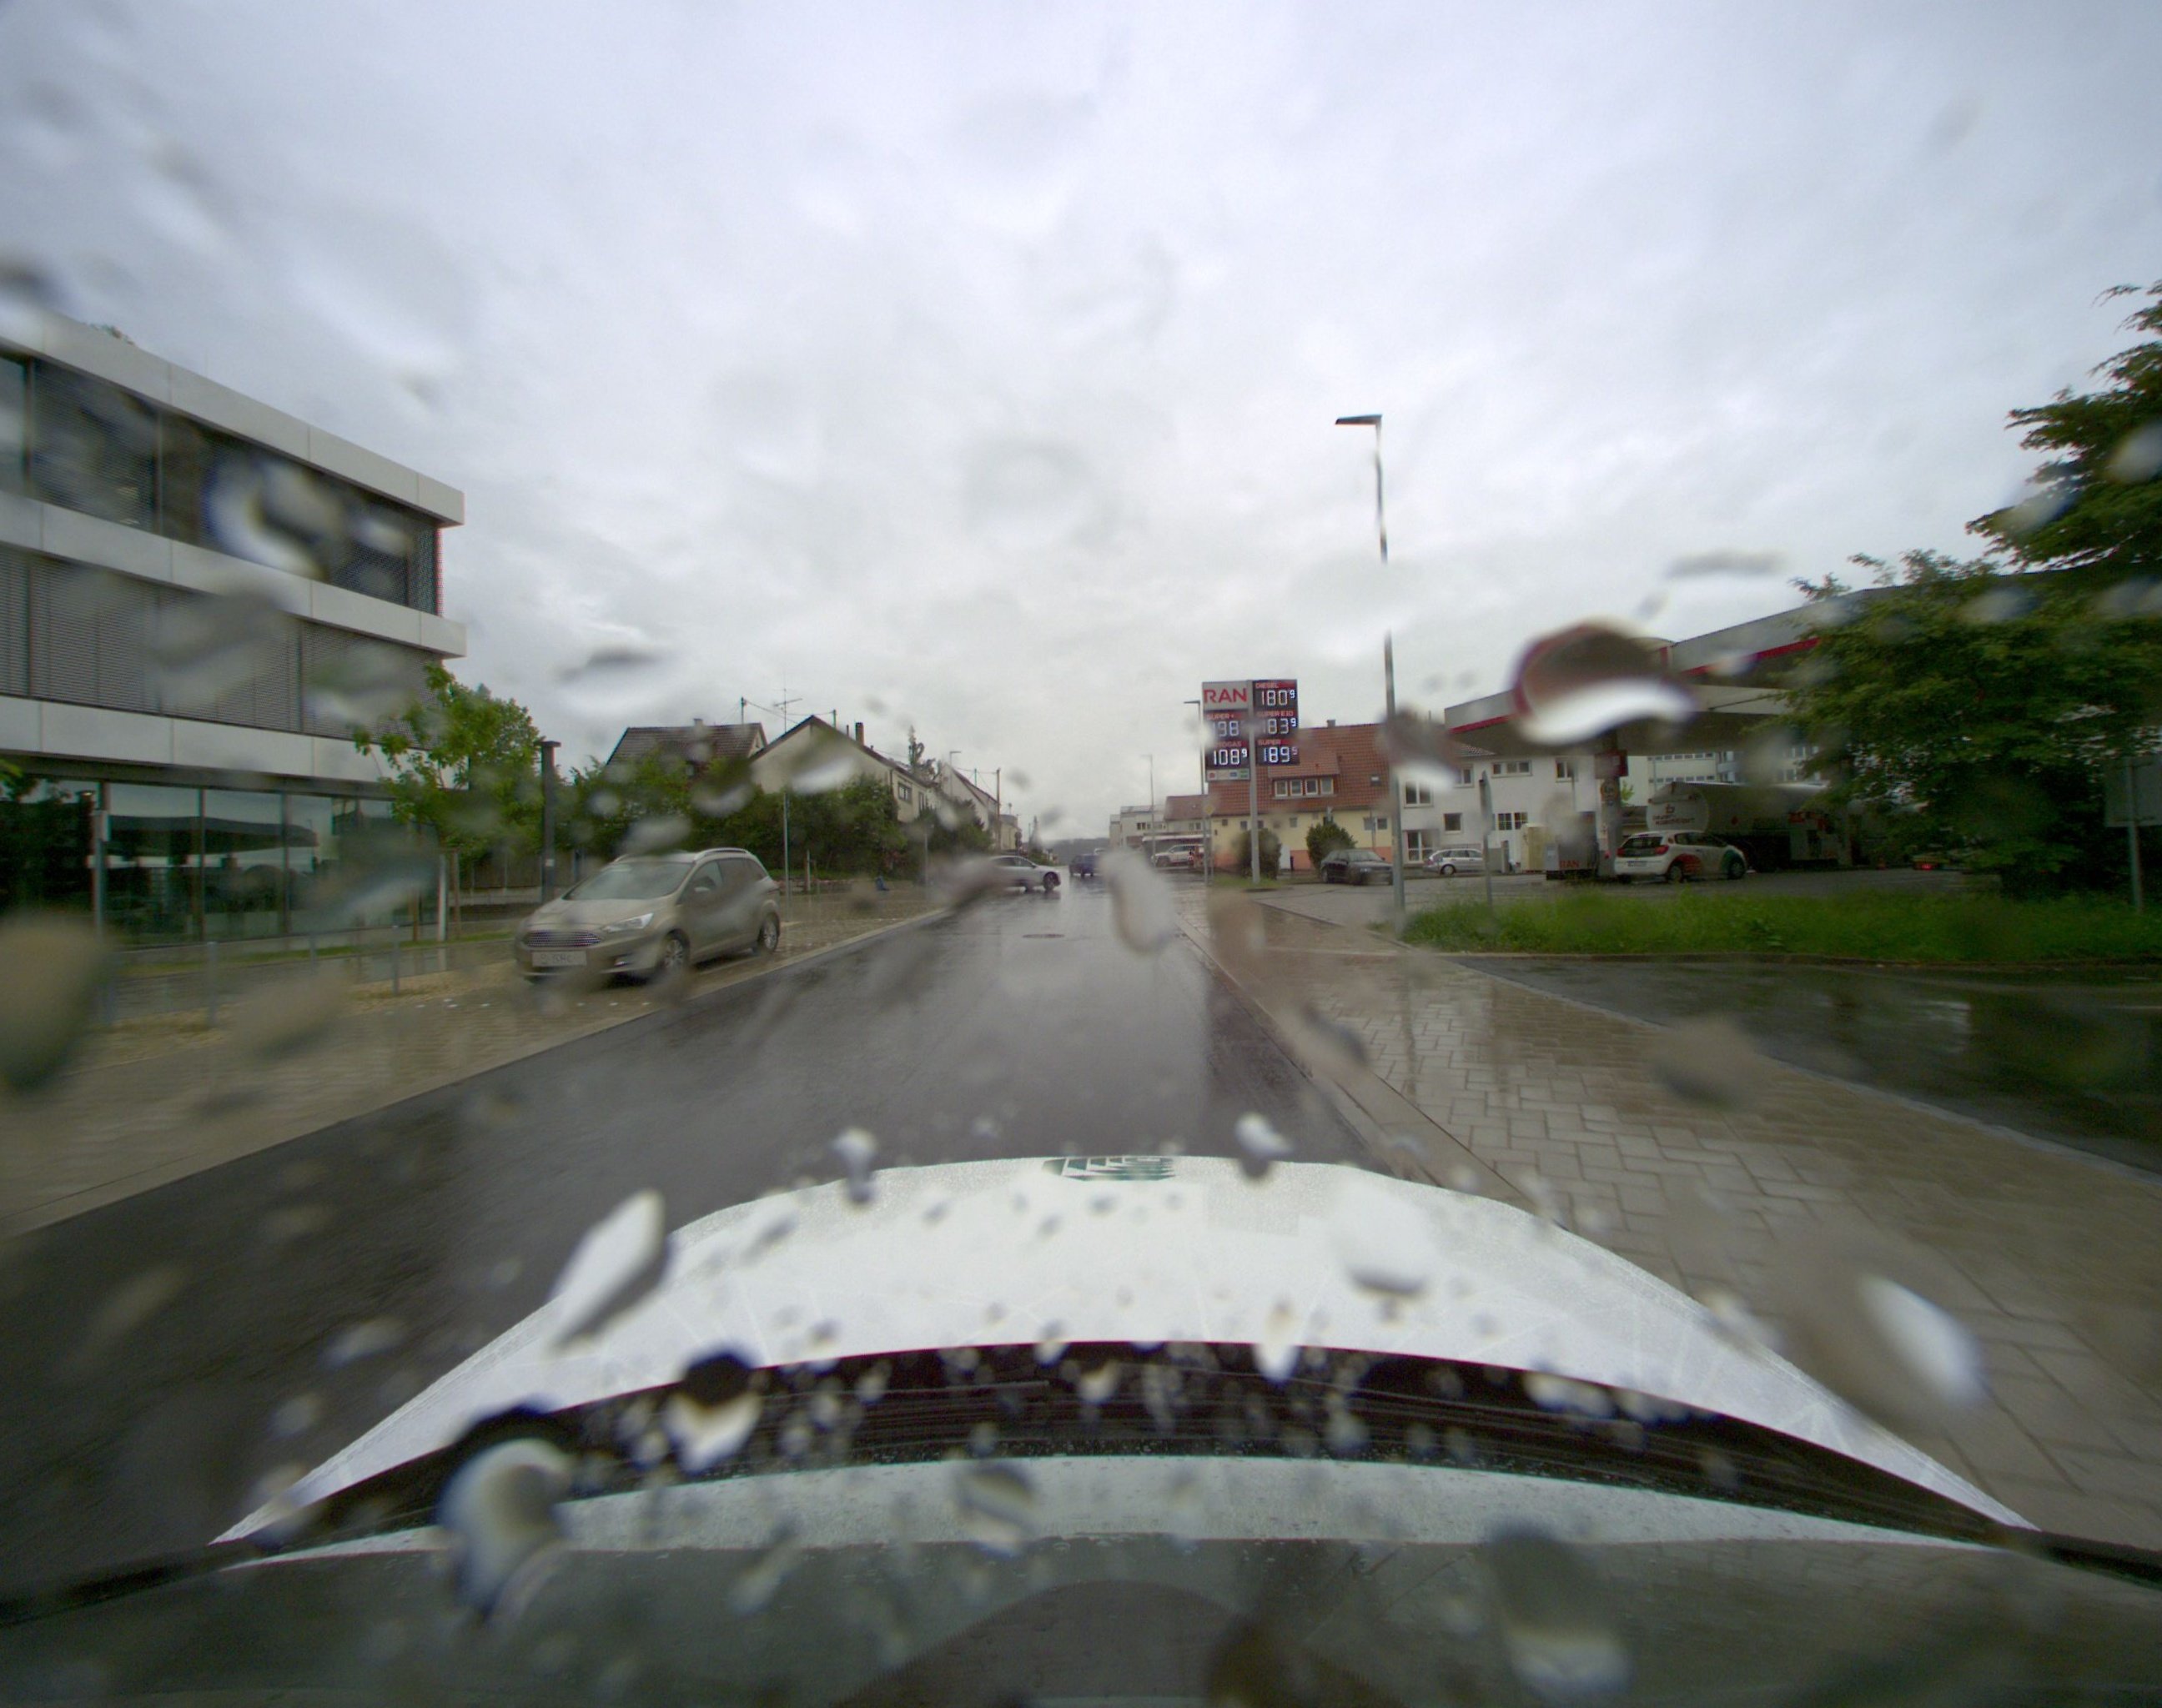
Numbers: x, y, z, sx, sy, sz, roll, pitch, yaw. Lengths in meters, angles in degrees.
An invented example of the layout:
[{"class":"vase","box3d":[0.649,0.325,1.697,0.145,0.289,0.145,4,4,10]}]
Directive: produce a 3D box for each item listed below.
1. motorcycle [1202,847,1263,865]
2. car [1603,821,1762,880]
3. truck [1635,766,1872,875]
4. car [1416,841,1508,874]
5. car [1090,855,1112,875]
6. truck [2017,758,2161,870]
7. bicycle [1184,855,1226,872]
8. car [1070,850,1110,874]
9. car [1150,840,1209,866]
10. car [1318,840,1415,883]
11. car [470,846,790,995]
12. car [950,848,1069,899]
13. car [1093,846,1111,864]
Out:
[{"class":"motorcycle","box3d":[10.341,0.141,55.630,3.949,1.153,1.100,1,-3,28]},{"class":"car","box3d":[16.994,-0.067,23.059,3.526,1.556,1.942,0,-2,-19]},{"class":"truck","box3d":[24.736,-1.097,30.018,7.730,3.445,2.667,2,-2,-14]},{"class":"car","box3d":[19.757,0.190,42.342,3.962,1.556,1.959,2,-2,10]},{"class":"car","box3d":[1.879,1.056,76.434,1.986,1.706,4.001,2,-2,2]},{"class":"truck","box3d":[21.358,-0.768,15.678,1.990,2.014,3.993,2,-2,-4]},{"class":"bicycle","box3d":[8.170,0.659,53.891,0.672,1.067,3.594,3,-3,-29]},{"class":"car","box3d":[0.574,0.608,55.956,1.853,1.493,3.982,2,-2,-13]},{"class":"car","box3d":[7.268,-0.066,60.543,4.101,1.706,1.787,2,-2,-2]},{"class":"car","box3d":[11.289,0.351,32.490,1.993,1.552,3.986,2,-2,-10]},{"class":"car","box3d":[-5.889,0.759,11.361,1.986,1.629,4.155,-2,0,2]},{"class":"car","box3d":[-3.113,0.889,35.817,4.786,2.014,1.979,3,-3,-34]},{"class":"car","box3d":[2.154,0.125,83.202,1.776,1.706,4.001,2,-2,2]}]
